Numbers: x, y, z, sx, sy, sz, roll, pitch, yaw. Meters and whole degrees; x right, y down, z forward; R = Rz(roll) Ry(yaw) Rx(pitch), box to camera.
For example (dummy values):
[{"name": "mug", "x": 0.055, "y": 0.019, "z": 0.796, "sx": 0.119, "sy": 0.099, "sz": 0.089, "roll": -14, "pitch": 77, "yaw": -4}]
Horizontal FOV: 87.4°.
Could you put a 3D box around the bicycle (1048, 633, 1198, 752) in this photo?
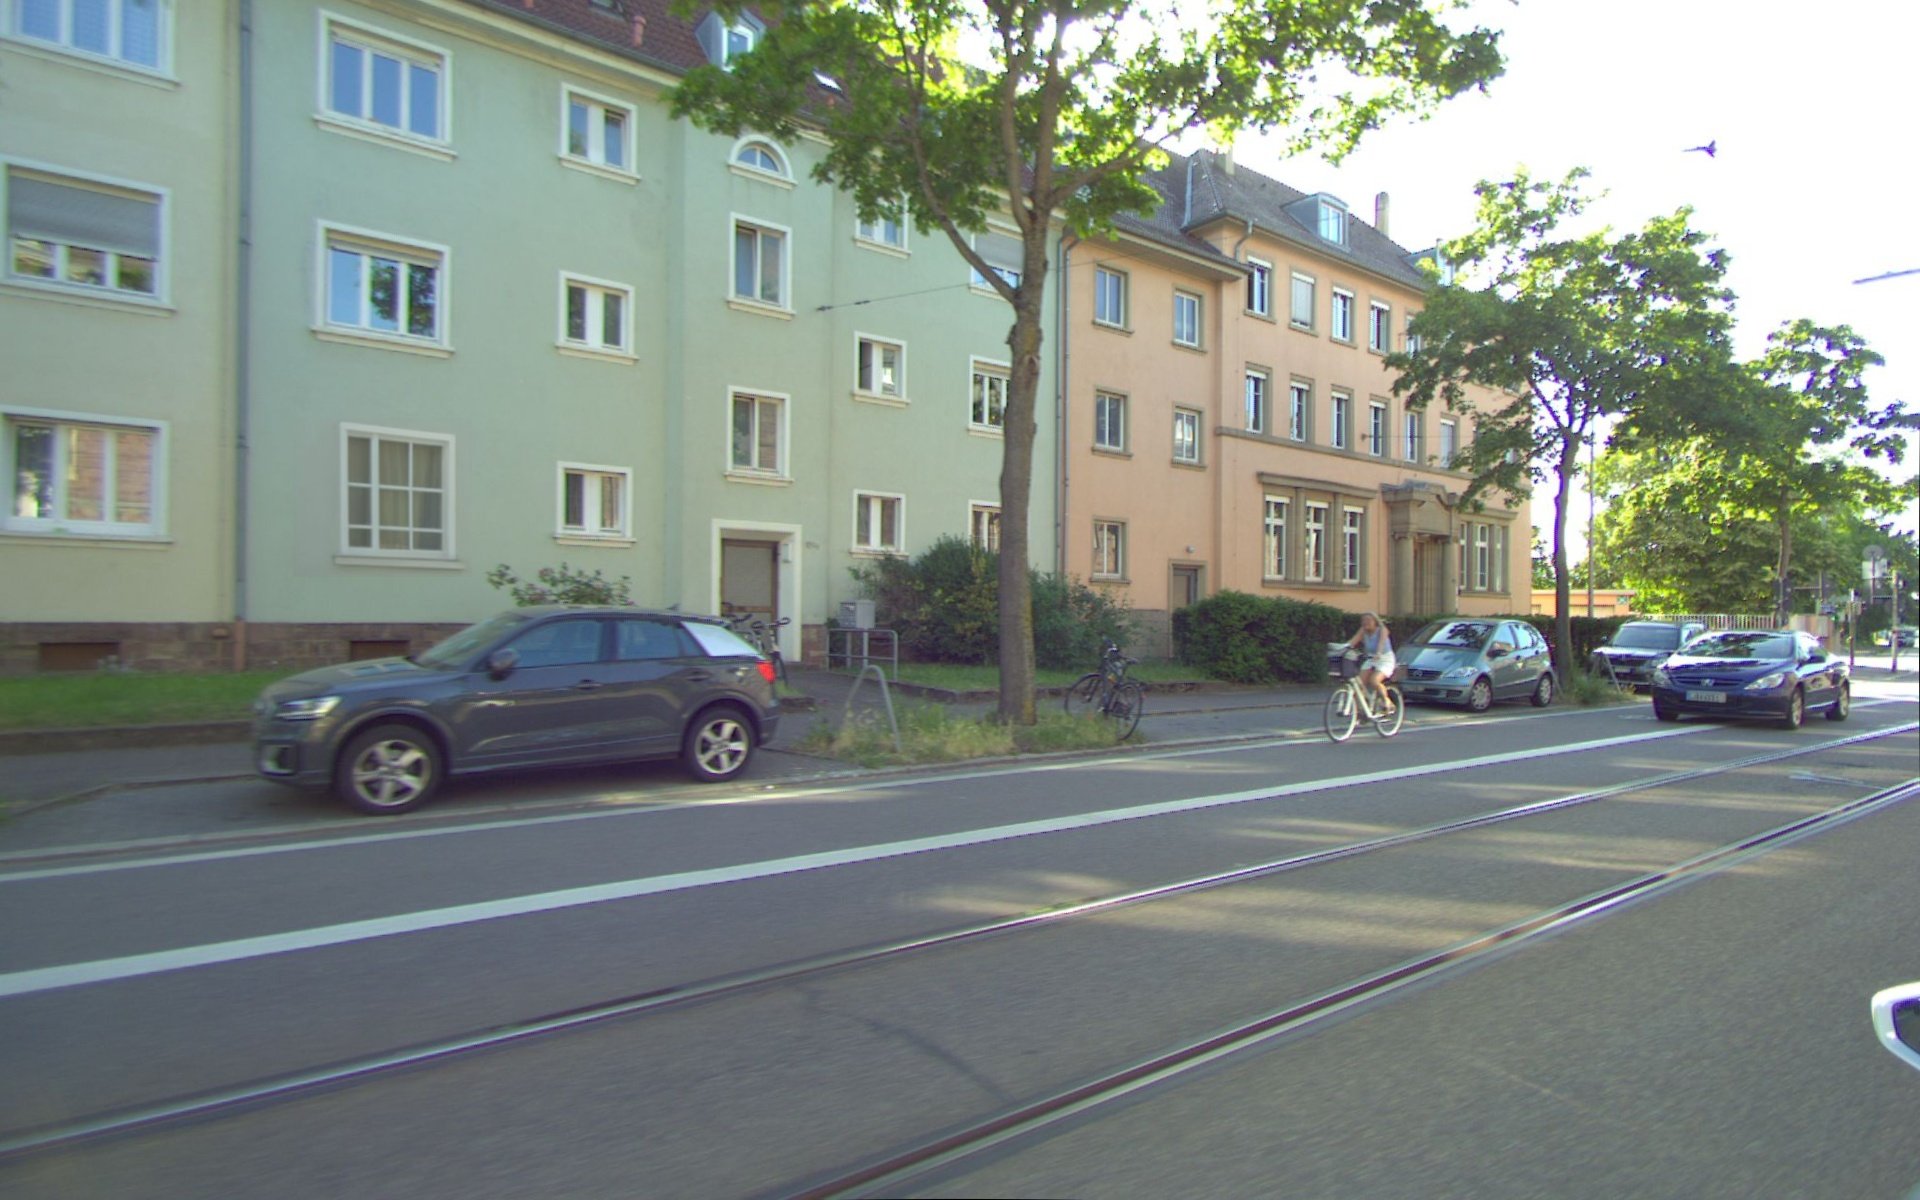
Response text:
[{"name": "bicycle", "x": 1.972, "y": 1.090, "z": 12.561, "sx": 0.553, "sy": 1.214, "sz": 2.274, "roll": 0, "pitch": 2, "yaw": -29}]

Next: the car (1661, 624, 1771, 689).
[{"name": "car", "x": 20.059, "y": 1.435, "z": 26.601, "sx": 3.584, "sy": 1.508, "sz": 1.568, "roll": 1, "pitch": 2, "yaw": -41}]

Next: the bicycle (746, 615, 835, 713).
[{"name": "bicycle", "x": -2.528, "y": 0.892, "z": 14.773, "sx": 0.553, "sy": 1.214, "sz": 2.274, "roll": 0, "pitch": 2, "yaw": -29}]

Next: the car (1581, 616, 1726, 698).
[{"name": "car", "x": 16.366, "y": 1.272, "z": 23.629, "sx": 4.356, "sy": 1.683, "sz": 1.730, "roll": 1, "pitch": 2, "yaw": -41}]

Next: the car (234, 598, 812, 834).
[{"name": "car", "x": -3.610, "y": 0.817, "z": 8.696, "sx": 4.285, "sy": 1.510, "sz": 1.732, "roll": 1, "pitch": 2, "yaw": -38}]

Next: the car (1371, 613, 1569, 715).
[{"name": "car", "x": 9.466, "y": 1.109, "z": 18.532, "sx": 4.035, "sy": 1.590, "sz": 1.731, "roll": 1, "pitch": 2, "yaw": -39}]

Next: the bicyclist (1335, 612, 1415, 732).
[{"name": "bicyclist", "x": 5.338, "y": 0.916, "z": 12.912, "sx": 0.862, "sy": 1.475, "sz": 0.553, "roll": 1, "pitch": -4, "yaw": -39}]

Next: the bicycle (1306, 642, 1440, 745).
[{"name": "bicycle", "x": 5.337, "y": 1.156, "z": 12.898, "sx": 2.273, "sy": 1.214, "sz": 0.553, "roll": 2, "pitch": -4, "yaw": -40}]

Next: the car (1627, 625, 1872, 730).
[{"name": "car", "x": 12.390, "y": 1.120, "z": 15.686, "sx": 4.395, "sy": 1.405, "sz": 1.798, "roll": 1, "pitch": -1, "yaw": -35}]
